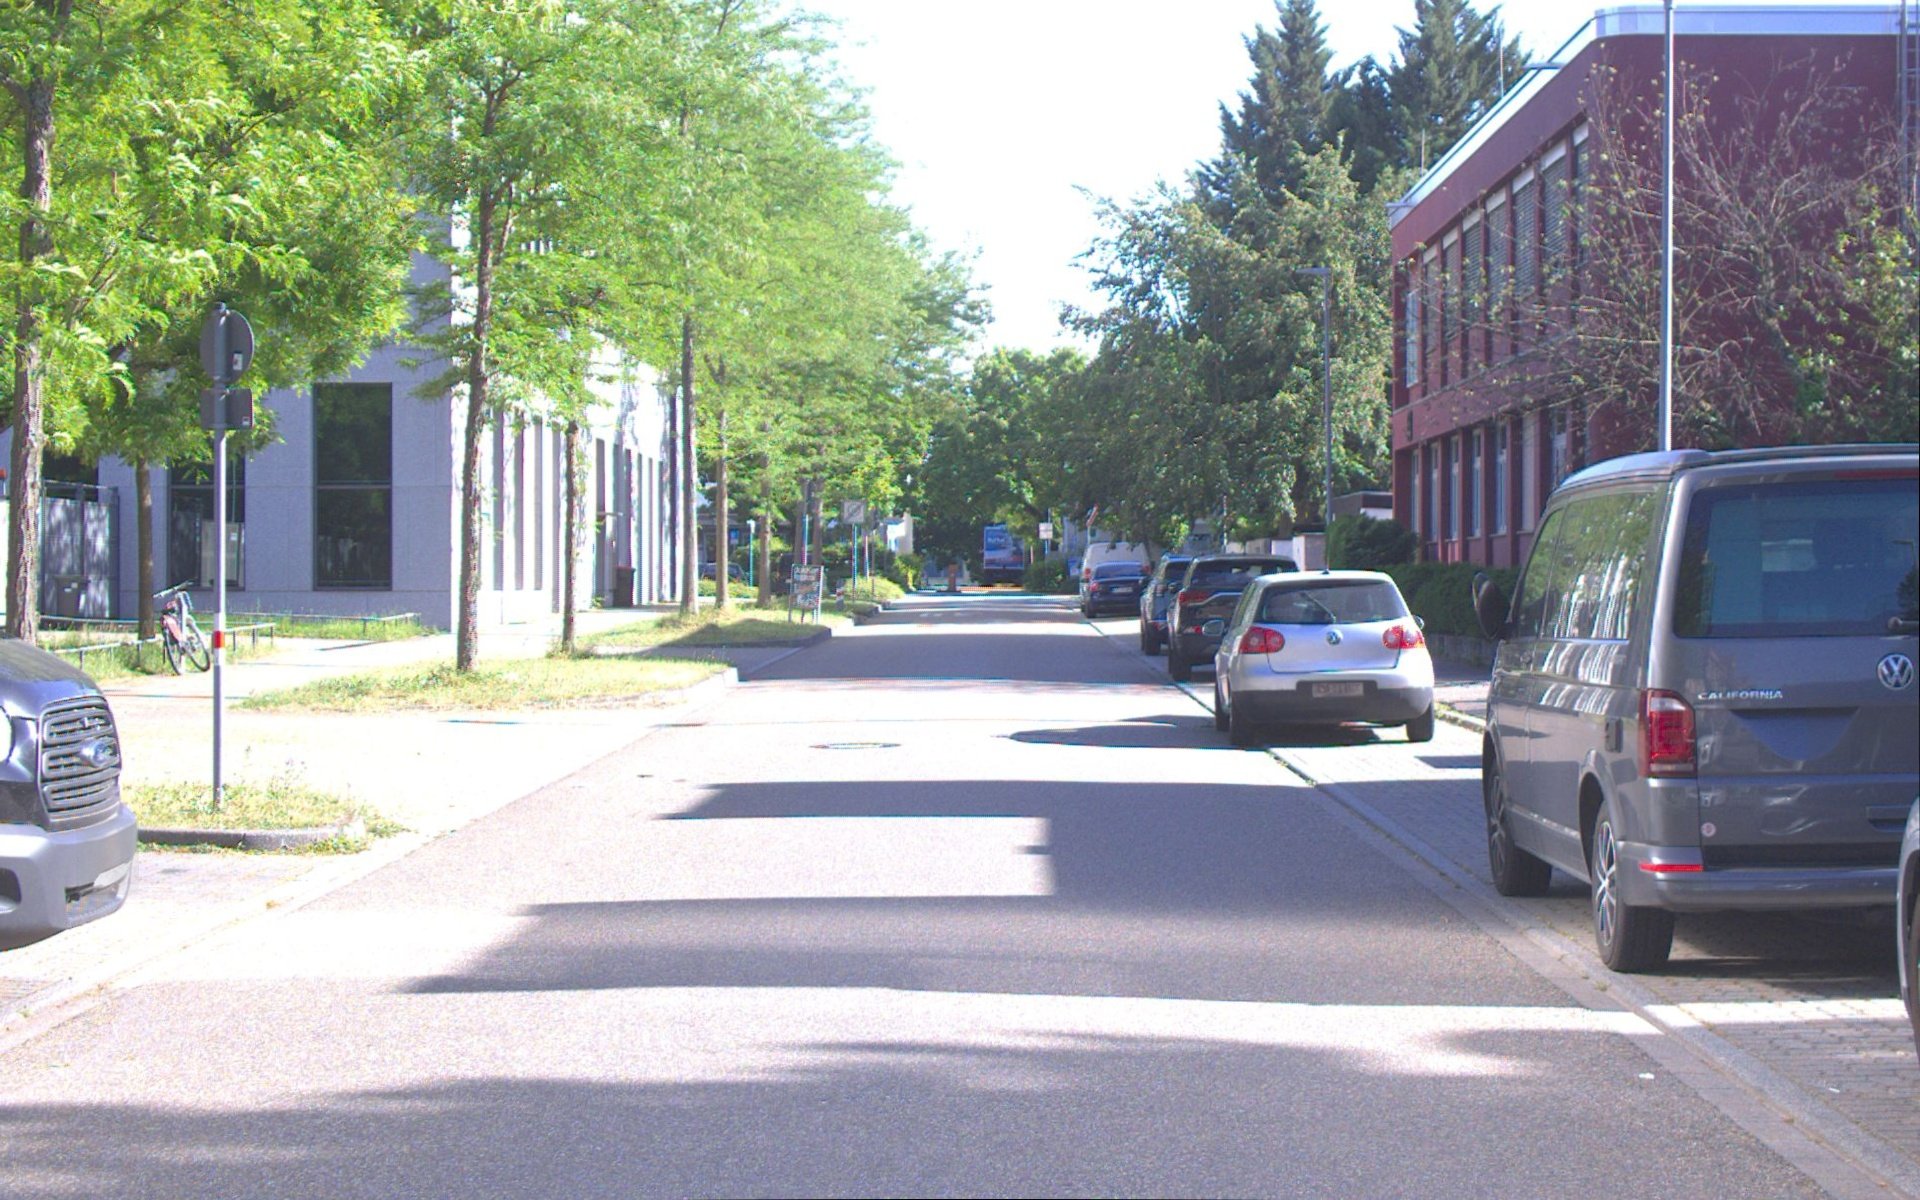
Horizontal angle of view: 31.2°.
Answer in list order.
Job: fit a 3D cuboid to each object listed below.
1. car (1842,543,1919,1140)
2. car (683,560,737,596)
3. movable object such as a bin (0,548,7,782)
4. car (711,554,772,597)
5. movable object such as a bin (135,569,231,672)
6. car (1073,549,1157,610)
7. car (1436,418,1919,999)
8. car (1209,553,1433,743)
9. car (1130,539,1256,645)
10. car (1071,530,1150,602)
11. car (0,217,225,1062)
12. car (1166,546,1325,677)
[{"bbox_3d":[3.496,0.641,7.914,1.825,1.623,4.293,-1,0,1],"label":"car"},{"bbox_3d":[-9.534,-0.856,131.087,1.905,1.337,3.793,0,1,-2],"label":"car"},{"bbox_3d":[-6.553,0.380,21.147,1.293,1.409,1.228,0,1,-17],"label":"movable object such as a bin"},{"bbox_3d":[-7.616,-0.864,120.235,1.993,1.453,3.793,0,0,-2],"label":"car"},{"bbox_3d":[-9.161,0.228,40.595,0.663,1.177,1.935,0,1,1],"label":"movable object such as a bin"},{"bbox_3d":[3.984,-0.550,88.867,1.993,1.437,4.000,-3,1,1],"label":"car"},{"bbox_3d":[3.301,0.369,14.440,1.943,2.015,4.825,-1,0,1],"label":"car"},{"bbox_3d":[3.130,0.370,30.409,1.660,1.556,3.934,0,1,2],"label":"car"},{"bbox_3d":[3.761,-0.157,55.993,1.855,1.642,4.000,0,1,1],"label":"car"},{"bbox_3d":[4.124,-0.950,94.600,1.993,1.828,4.000,-3,1,1],"label":"car"},{"bbox_3d":[-5.549,-0.001,11.804,5.454,2.614,2.231,3,0,1],"label":"car"},{"bbox_3d":[3.678,0.112,44.890,1.838,1.628,4.201,0,1,2],"label":"car"}]
